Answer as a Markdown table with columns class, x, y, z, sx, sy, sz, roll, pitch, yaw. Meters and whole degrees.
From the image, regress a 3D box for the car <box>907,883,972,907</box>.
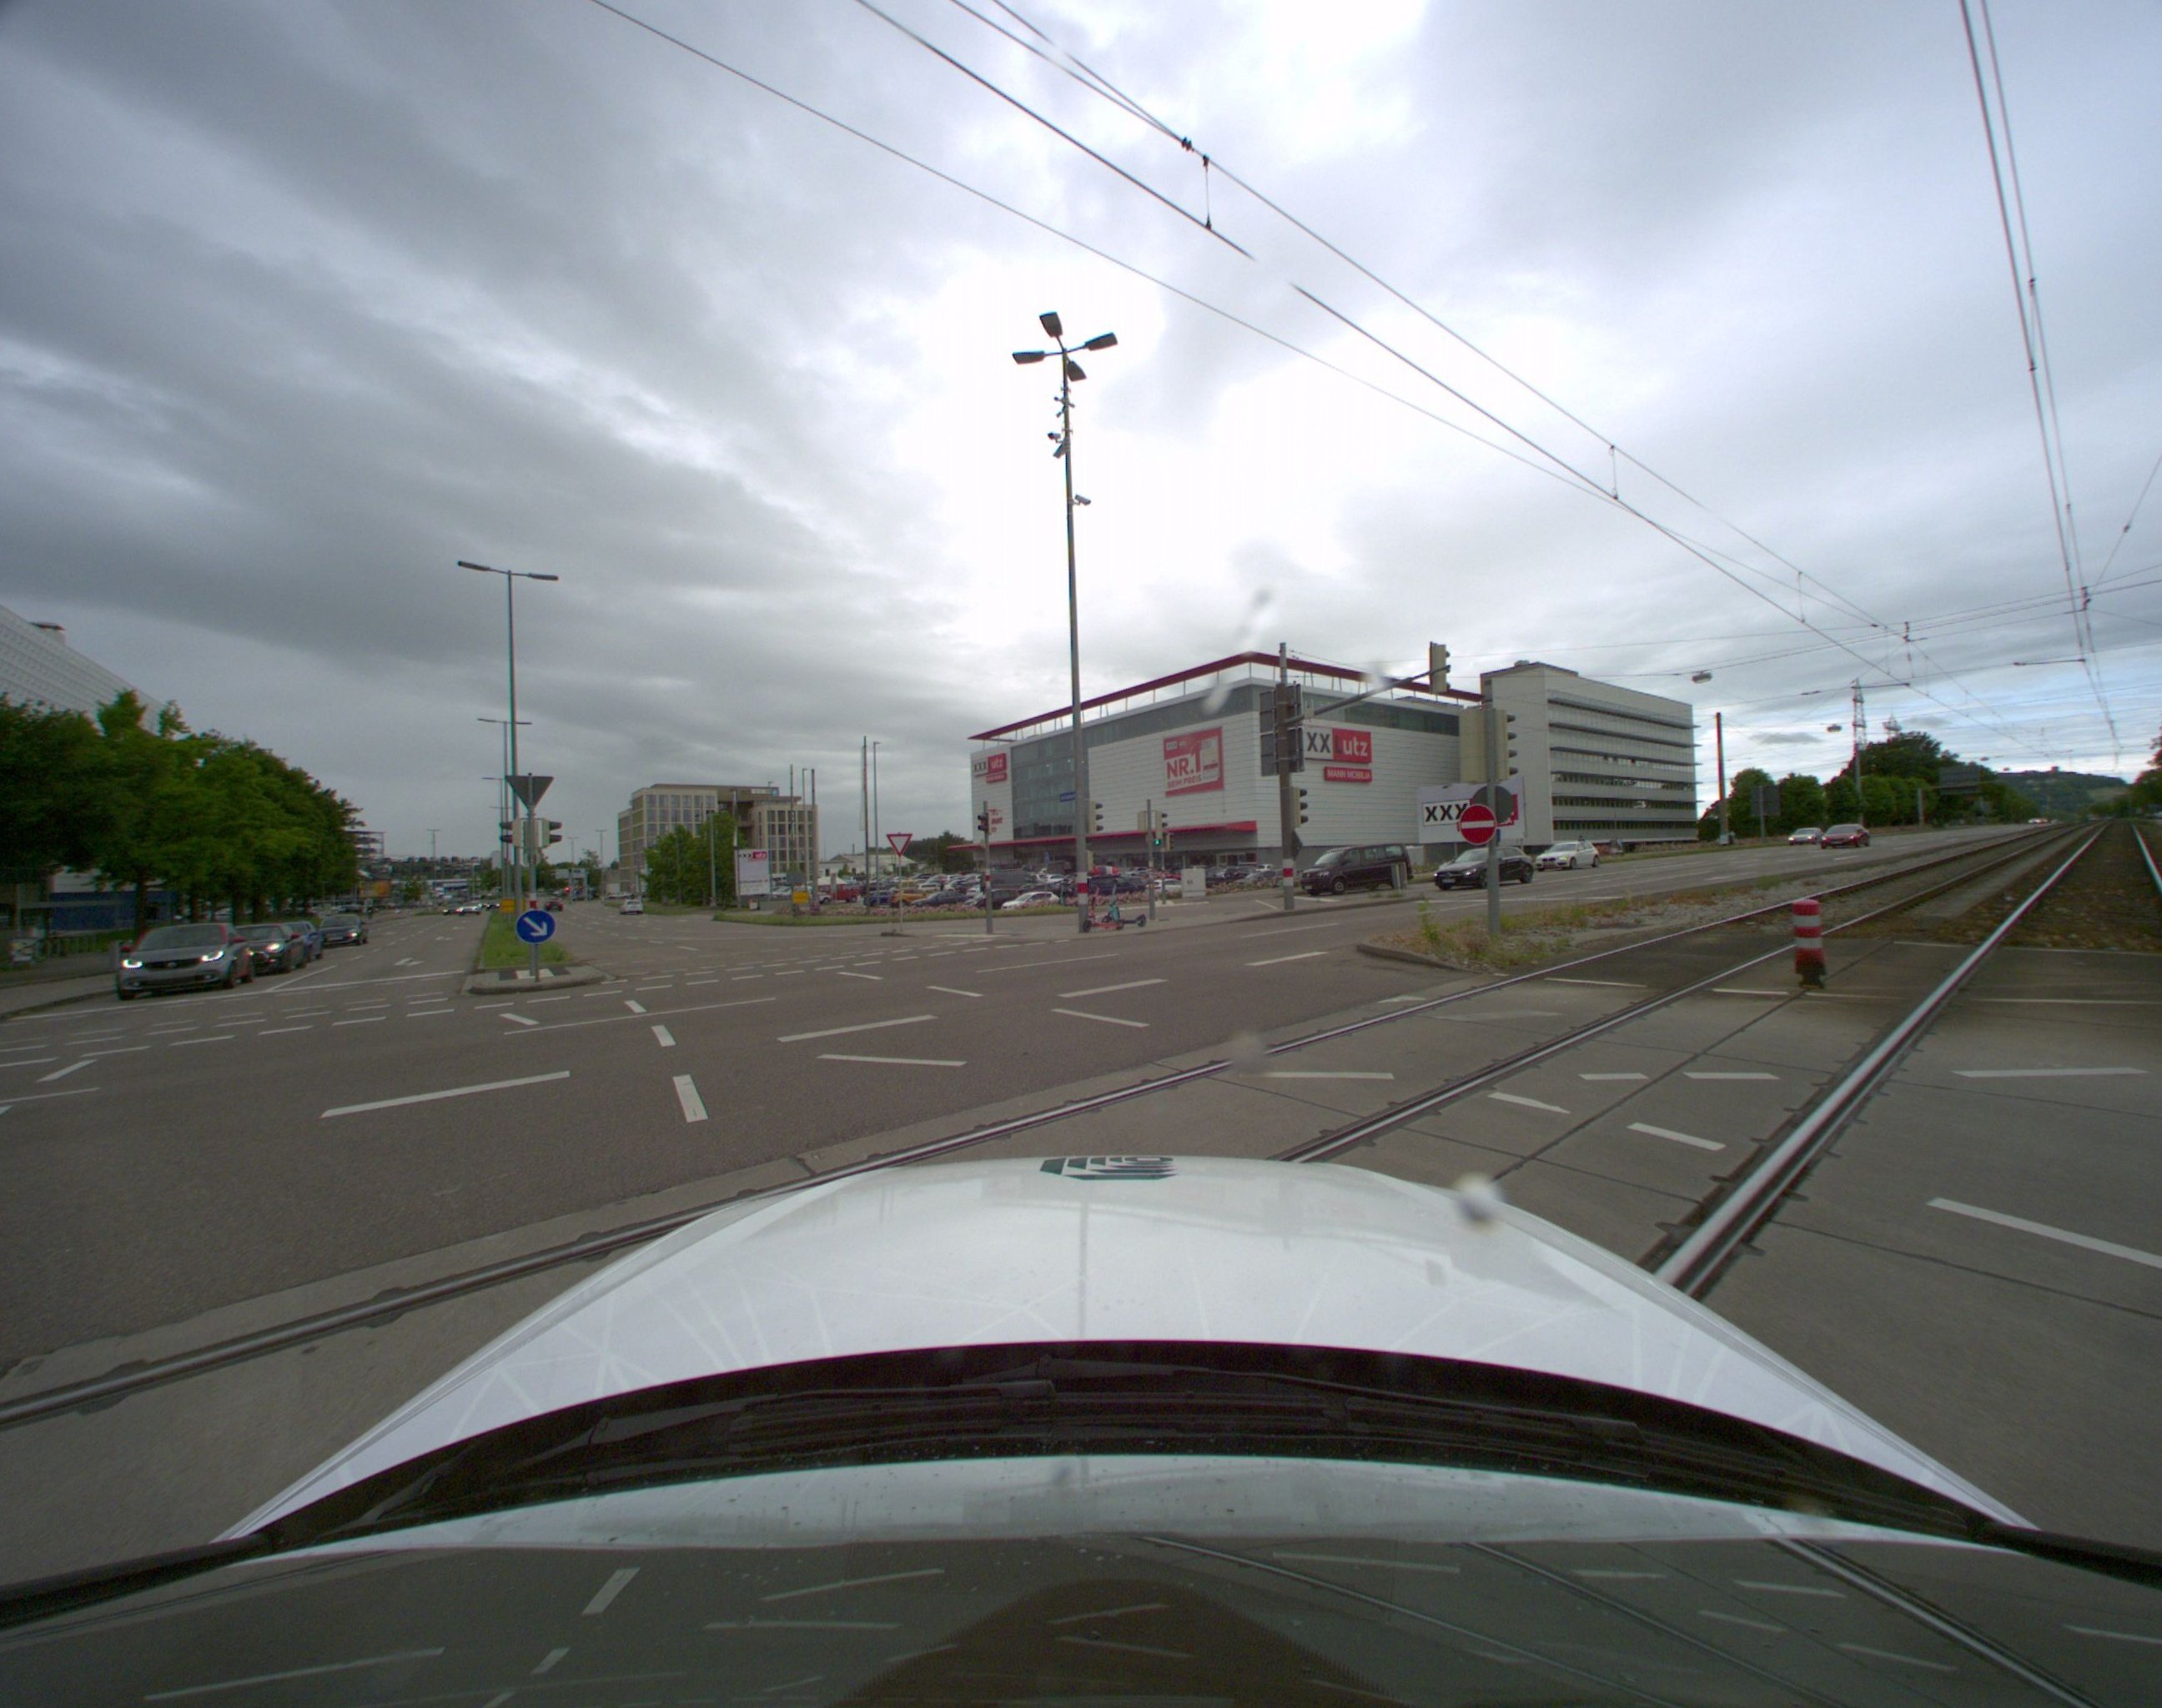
| class | x | y | z | sx | sy | sz | roll | pitch | yaw |
| --- | --- | --- | --- | --- | --- | --- | --- | --- | --- |
| car | -10.660 | 3.053 | 61.514 | 4.560 | 1.583 | 1.750 | -1 | 0 | -36 |

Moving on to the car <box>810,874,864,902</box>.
| class | x | y | z | sx | sy | sz | roll | pitch | yaw |
| --- | --- | --- | --- | --- | --- | --- | --- | --- | --- |
| car | -24.562 | 3.420 | 82.143 | 4.757 | 2.579 | 2.147 | -1 | 0 | -34 |

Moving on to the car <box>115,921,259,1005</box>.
| class | x | y | z | sx | sy | sz | roll | pitch | yaw |
| --- | --- | --- | --- | --- | --- | --- | --- | --- | --- |
| car | -20.334 | 2.405 | 18.669 | 1.615 | 1.502 | 3.173 | -4 | 0 | -37 |

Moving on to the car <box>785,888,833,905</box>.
| class | x | y | z | sx | sy | sz | roll | pitch | yaw |
| --- | --- | --- | --- | --- | --- | --- | --- | --- | --- |
| car | -28.350 | 4.396 | 84.971 | 4.406 | 1.461 | 1.940 | -1 | 0 | -34 |

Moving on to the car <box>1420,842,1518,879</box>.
| class | x | y | z | sx | sy | sz | roll | pitch | yaw |
| --- | --- | --- | --- | --- | --- | --- | --- | --- | --- |
| car | 17.933 | 0.293 | 37.620 | 4.336 | 1.464 | 1.949 | -3 | -1 | -31 |

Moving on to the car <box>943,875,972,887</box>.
| class | x | y | z | sx | sy | sz | roll | pitch | yaw |
| --- | --- | --- | --- | --- | --- | --- | --- | --- | --- |
| car | -17.331 | 3.809 | 114.344 | 3.592 | 1.587 | 1.722 | -1 | -2 | -31 |

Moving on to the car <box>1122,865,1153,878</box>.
| class | x | y | z | sx | sy | sz | roll | pitch | yaw |
| --- | --- | --- | --- | --- | --- | --- | --- | --- | --- |
| car | 7.435 | 2.338 | 107.618 | 3.822 | 1.554 | 1.810 | -1 | 0 | -37 |

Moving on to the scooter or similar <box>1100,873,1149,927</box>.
| class | x | y | z | sx | sy | sz | roll | pitch | yaw |
| --- | --- | --- | --- | --- | --- | --- | --- | --- | --- |
| scooter or similar | 1.109 | 1.160 | 20.540 | 1.117 | 1.256 | 0.318 | -3 | -3 | -23 |

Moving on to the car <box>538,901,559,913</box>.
| class | x | y | z | sx | sy | sz | roll | pitch | yaw |
| --- | --- | --- | --- | --- | --- | --- | --- | --- | --- |
| car | -67.187 | 6.717 | 102.730 | 2.003 | 1.428 | 4.193 | -1 | -3 | -36 |

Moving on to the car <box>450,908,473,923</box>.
| class | x | y | z | sx | sy | sz | roll | pitch | yaw |
| --- | --- | --- | --- | --- | --- | --- | --- | --- | --- |
| car | -72.511 | 7.212 | 95.369 | 1.946 | 1.519 | 4.136 | -4 | -1 | -35 |

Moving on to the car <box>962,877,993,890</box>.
| class | x | y | z | sx | sy | sz | roll | pitch | yaw |
| --- | --- | --- | --- | --- | --- | --- | --- | --- | --- |
| car | -13.706 | 3.955 | 108.061 | 3.592 | 1.587 | 1.722 | -1 | -2 | -32 |

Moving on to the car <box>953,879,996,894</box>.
| class | x | y | z | sx | sy | sz | roll | pitch | yaw |
| --- | --- | --- | --- | --- | --- | --- | --- | --- | --- |
| car | -11.546 | 3.498 | 88.245 | 4.270 | 1.469 | 1.721 | -1 | 0 | -34 |

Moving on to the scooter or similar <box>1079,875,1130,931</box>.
| class | x | y | z | sx | sy | sz | roll | pitch | yaw |
| --- | --- | --- | --- | --- | --- | --- | --- | --- | --- |
| scooter or similar | 0.553 | 1.161 | 19.367 | 1.019 | 1.256 | 0.461 | -3 | -3 | -23 |

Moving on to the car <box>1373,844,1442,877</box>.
| class | x | y | z | sx | sy | sz | roll | pitch | yaw |
| --- | --- | --- | --- | --- | --- | --- | --- | --- | --- |
| car | 31.100 | 0.581 | 77.541 | 6.980 | 2.989 | 2.739 | -1 | 0 | -35 |

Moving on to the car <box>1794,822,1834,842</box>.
| class | x | y | z | sx | sy | sz | roll | pitch | yaw |
| --- | --- | --- | --- | --- | --- | --- | --- | --- | --- |
| car | 62.917 | -1.912 | 69.911 | 4.093 | 1.602 | 1.728 | -1 | 0 | -36 |

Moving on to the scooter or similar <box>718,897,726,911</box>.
| class | x | y | z | sx | sy | sz | roll | pitch | yaw |
| --- | --- | --- | --- | --- | --- | --- | --- | --- | --- |
| scooter or similar | -36.890 | 5.165 | 83.716 | 0.654 | 1.421 | 1.803 | -2 | -2 | -27 |

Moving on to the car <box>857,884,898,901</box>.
| class | x | y | z | sx | sy | sz | roll | pitch | yaw |
| --- | --- | --- | --- | --- | --- | --- | --- | --- | --- |
| car | -24.310 | 4.612 | 97.195 | 4.343 | 1.744 | 1.869 | -1 | 0 | -33 |

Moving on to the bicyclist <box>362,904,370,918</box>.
| class | x | y | z | sx | sy | sz | roll | pitch | yaw |
| --- | --- | --- | --- | --- | --- | --- | --- | --- | --- |
| bicyclist | -85.497 | 6.828 | 97.352 | 0.645 | 1.577 | 0.989 | 1 | -3 | -36 |

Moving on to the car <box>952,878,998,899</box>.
| class | x | y | z | sx | sy | sz | roll | pitch | yaw |
| --- | --- | --- | --- | --- | --- | --- | --- | --- | --- |
| car | -10.072 | 3.277 | 77.750 | 3.923 | 1.654 | 1.811 | -3 | 0 | -38 |

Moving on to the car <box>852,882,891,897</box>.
| class | x | y | z | sx | sy | sz | roll | pitch | yaw |
| --- | --- | --- | --- | --- | --- | --- | --- | --- | --- |
| car | -25.602 | 4.292 | 99.572 | 4.202 | 1.664 | 1.814 | -1 | -2 | -33 |

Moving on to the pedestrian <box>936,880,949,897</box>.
| class | x | y | z | sx | sy | sz | roll | pitch | yaw |
| --- | --- | --- | --- | --- | --- | --- | --- | --- | --- |
| pedestrian | -14.189 | 3.509 | 83.354 | 0.947 | 1.719 | 0.875 | -1 | 0 | -37 |

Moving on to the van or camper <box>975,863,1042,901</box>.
| class | x | y | z | sx | sy | sz | roll | pitch | yaw |
| --- | --- | --- | --- | --- | --- | --- | --- | --- | --- |
| van or camper | -6.325 | 2.452 | 71.075 | 5.411 | 2.984 | 1.973 | -2 | -2 | -28 |

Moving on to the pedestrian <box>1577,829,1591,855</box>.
| class | x | y | z | sx | sy | sz | roll | pitch | yaw |
| --- | --- | --- | --- | --- | --- | --- | --- | --- | --- |
| pedestrian | 35.590 | -0.833 | 57.627 | 0.689 | 1.790 | 0.647 | -1 | 0 | 40 |

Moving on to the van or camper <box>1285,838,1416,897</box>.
| class | x | y | z | sx | sy | sz | roll | pitch | yaw |
| --- | --- | --- | --- | --- | --- | --- | --- | --- | --- |
| van or camper | 11.241 | 0.583 | 34.041 | 4.753 | 2.014 | 2.109 | -4 | -3 | -19 |

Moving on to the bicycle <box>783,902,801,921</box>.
| class | x | y | z | sx | sy | sz | roll | pitch | yaw |
| --- | --- | --- | --- | --- | --- | --- | --- | --- | --- |
| bicycle | -16.463 | 3.266 | 46.410 | 0.667 | 1.049 | 1.675 | -1 | -3 | -29 |

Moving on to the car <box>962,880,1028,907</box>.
| class | x | y | z | sx | sy | sz | roll | pitch | yaw |
| --- | --- | --- | --- | --- | --- | --- | --- | --- | --- |
| car | -5.880 | 2.679 | 55.915 | 4.123 | 1.583 | 1.750 | -1 | 0 | -36 |

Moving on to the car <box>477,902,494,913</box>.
| class | x | y | z | sx | sy | sz | roll | pitch | yaw |
| --- | --- | --- | --- | --- | --- | --- | --- | --- | --- |
| car | -90.953 | 8.185 | 124.332 | 1.946 | 1.486 | 4.389 | -3 | -1 | -37 |

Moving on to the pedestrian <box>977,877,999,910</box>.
| class | x | y | z | sx | sy | sz | roll | pitch | yaw |
| --- | --- | --- | --- | --- | --- | --- | --- | --- | --- |
| pedestrian | -4.697 | 1.988 | 41.029 | 0.708 | 1.597 | 0.788 | -5 | -3 | 21 |

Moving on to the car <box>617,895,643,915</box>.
| class | x | y | z | sx | sy | sz | roll | pitch | yaw |
| --- | --- | --- | --- | --- | --- | --- | --- | --- | --- |
| car | -46.837 | 5.282 | 84.489 | 2.008 | 1.752 | 4.136 | -1 | 0 | -34 |

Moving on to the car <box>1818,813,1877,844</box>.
| class | x | y | z | sx | sy | sz | roll | pitch | yaw |
| --- | --- | --- | --- | --- | --- | --- | --- | --- | --- |
| car | 48.135 | -1.631 | 51.108 | 4.019 | 1.728 | 1.977 | -3 | -1 | -37 |

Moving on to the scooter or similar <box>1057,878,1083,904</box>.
| class | x | y | z | sx | sy | sz | roll | pitch | yaw |
| --- | --- | --- | --- | --- | --- | --- | --- | --- | --- |
| scooter or similar | -0.517 | 1.783 | 39.360 | 1.152 | 1.233 | 0.347 | -3 | -3 | 16 |

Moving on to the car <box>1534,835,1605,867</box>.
| class | x | y | z | sx | sy | sz | roll | pitch | yaw |
| --- | --- | --- | --- | --- | --- | --- | --- | --- | --- |
| car | 25.364 | -0.170 | 42.246 | 4.064 | 1.539 | 1.714 | -2 | 1 | -36 |

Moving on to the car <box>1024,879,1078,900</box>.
| class | x | y | z | sx | sy | sz | roll | pitch | yaw |
| --- | --- | --- | --- | --- | --- | --- | --- | --- | --- |
| car | -2.503 | 2.914 | 67.357 | 4.012 | 1.556 | 1.928 | -2 | -2 | -30 |

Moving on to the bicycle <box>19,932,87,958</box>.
| class | x | y | z | sx | sy | sz | roll | pitch | yaw |
| --- | --- | --- | --- | --- | --- | --- | --- | --- | --- |
| bicycle | -50.819 | 4.506 | 40.290 | 2.023 | 1.157 | 0.589 | 0 | -3 | -22 |

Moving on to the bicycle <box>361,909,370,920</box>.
| class | x | y | z | sx | sy | sz | roll | pitch | yaw |
| --- | --- | --- | --- | --- | --- | --- | --- | --- | --- |
| bicycle | -85.494 | 7.203 | 97.311 | 0.647 | 1.251 | 2.033 | 1 | -3 | -36 |
